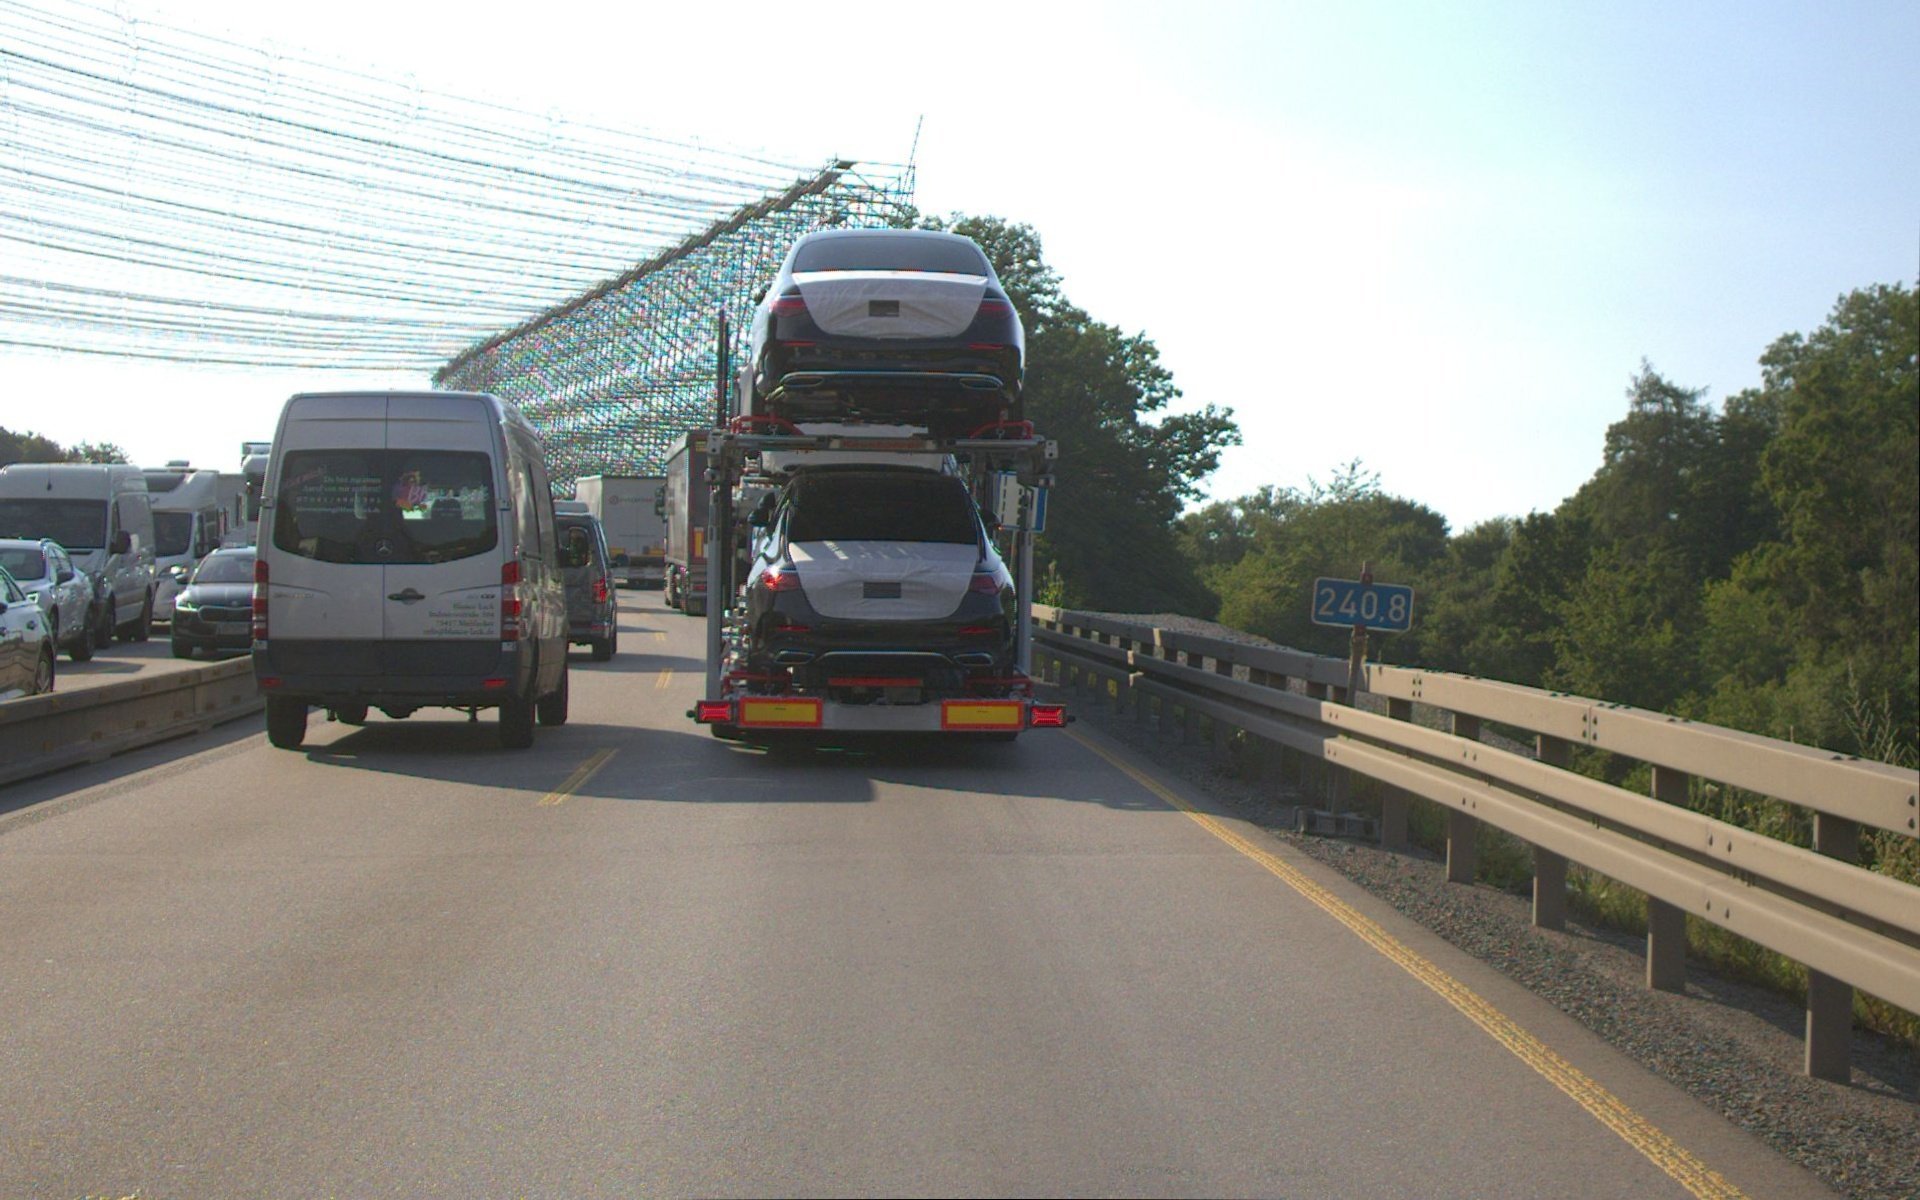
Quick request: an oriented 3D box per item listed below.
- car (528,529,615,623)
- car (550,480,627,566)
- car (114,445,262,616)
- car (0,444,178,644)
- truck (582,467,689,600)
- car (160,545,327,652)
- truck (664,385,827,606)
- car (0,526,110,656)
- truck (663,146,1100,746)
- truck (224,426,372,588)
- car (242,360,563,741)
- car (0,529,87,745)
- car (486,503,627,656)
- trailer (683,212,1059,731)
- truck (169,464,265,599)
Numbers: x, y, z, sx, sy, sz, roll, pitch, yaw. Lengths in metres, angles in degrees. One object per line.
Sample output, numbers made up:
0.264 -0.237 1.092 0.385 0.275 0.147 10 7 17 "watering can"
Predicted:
-8.411 -0.490 74.621 1.668 1.978 3.818 0 0 -4 "car"
-9.001 -1.850 83.508 1.668 1.978 3.818 0 0 -4 "car"
-12.928 -1.171 57.835 1.668 2.756 4.960 0 1 -4 "car"
-12.954 -0.751 50.087 2.128 2.741 5.505 0 0 -3 "car"
-12.033 -2.454 126.560 3.647 4.661 11.698 0 1 -7 "truck"
-9.564 -0.008 46.129 1.668 1.363 3.818 0 0 -4 "car"
-5.032 -2.315 78.448 3.227 4.661 11.698 0 1 -6 "truck"
-11.733 -0.092 42.248 1.808 1.525 4.048 0 0 -4 "car"
-0.652 -1.006 25.654 2.869 3.966 5.772 0 0 -3 "truck"
-17.114 -2.375 89.346 2.641 3.981 9.031 0 1 -4 "truck"
-4.171 -0.341 26.313 1.979 2.675 4.147 0 0 -3 "car"
-7.768 0.269 24.457 1.993 1.525 4.726 0 0 -1 "car"
-5.433 -0.255 46.670 1.668 1.978 3.818 0 0 -3 "car"
-1.034 -0.942 34.076 2.874 3.980 15.280 0 0 -3 "trailer"
-27.000 -2.481 124.994 3.227 4.661 11.699 0 1 -12 "truck"
